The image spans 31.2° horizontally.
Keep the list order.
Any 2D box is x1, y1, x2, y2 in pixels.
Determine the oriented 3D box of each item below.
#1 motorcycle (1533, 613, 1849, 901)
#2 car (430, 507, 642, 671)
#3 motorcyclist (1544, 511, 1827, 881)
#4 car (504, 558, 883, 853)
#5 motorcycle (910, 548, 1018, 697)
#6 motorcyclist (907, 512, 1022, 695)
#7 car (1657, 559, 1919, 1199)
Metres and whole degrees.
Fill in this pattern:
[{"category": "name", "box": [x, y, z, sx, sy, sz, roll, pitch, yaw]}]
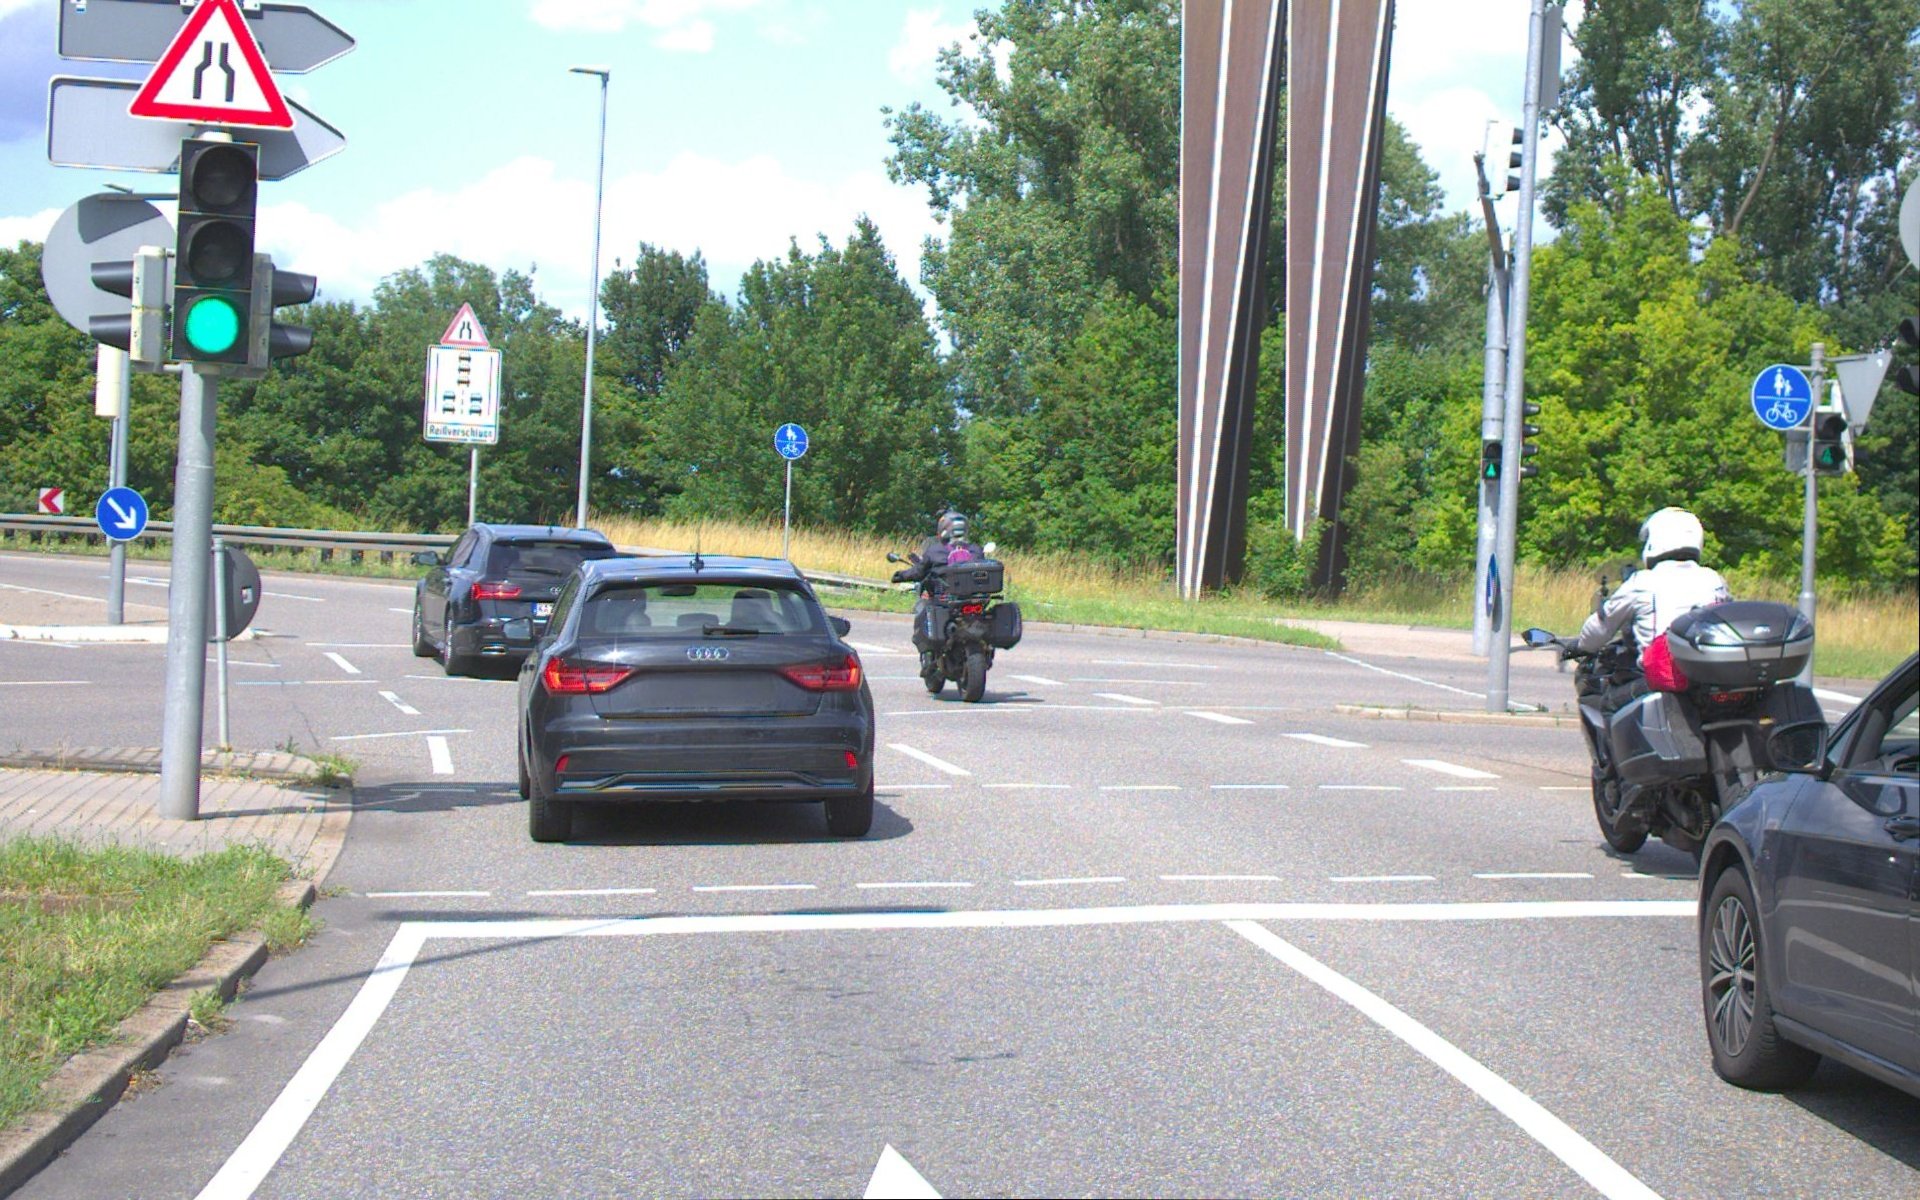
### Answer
[{"category": "motorcycle", "box": [3.278, 0.667, 15.675, 0.789, 1.128, 2.399, 2, 1, -3]}, {"category": "car", "box": [-4.102, -0.131, 33.714, 1.642, 1.474, 3.872, 1, 1, -1]}, {"category": "motorcyclist", "box": [3.324, 0.420, 15.865, 0.966, 1.614, 1.125, 2, 1, -3]}, {"category": "car", "box": [-1.515, 0.485, 18.298, 1.681, 1.383, 3.740, 0, 1, -9]}, {"category": "motorcycle", "box": [0.041, 0.180, 30.948, 0.887, 1.243, 2.399, 2, 1, 0]}, {"category": "motorcyclist", "box": [0.046, 0.024, 31.065, 0.966, 1.590, 1.125, 2, 1, 0]}, {"category": "car", "box": [2.973, 0.672, 8.061, 1.642, 1.474, 3.873, 1, 1, -3]}]
